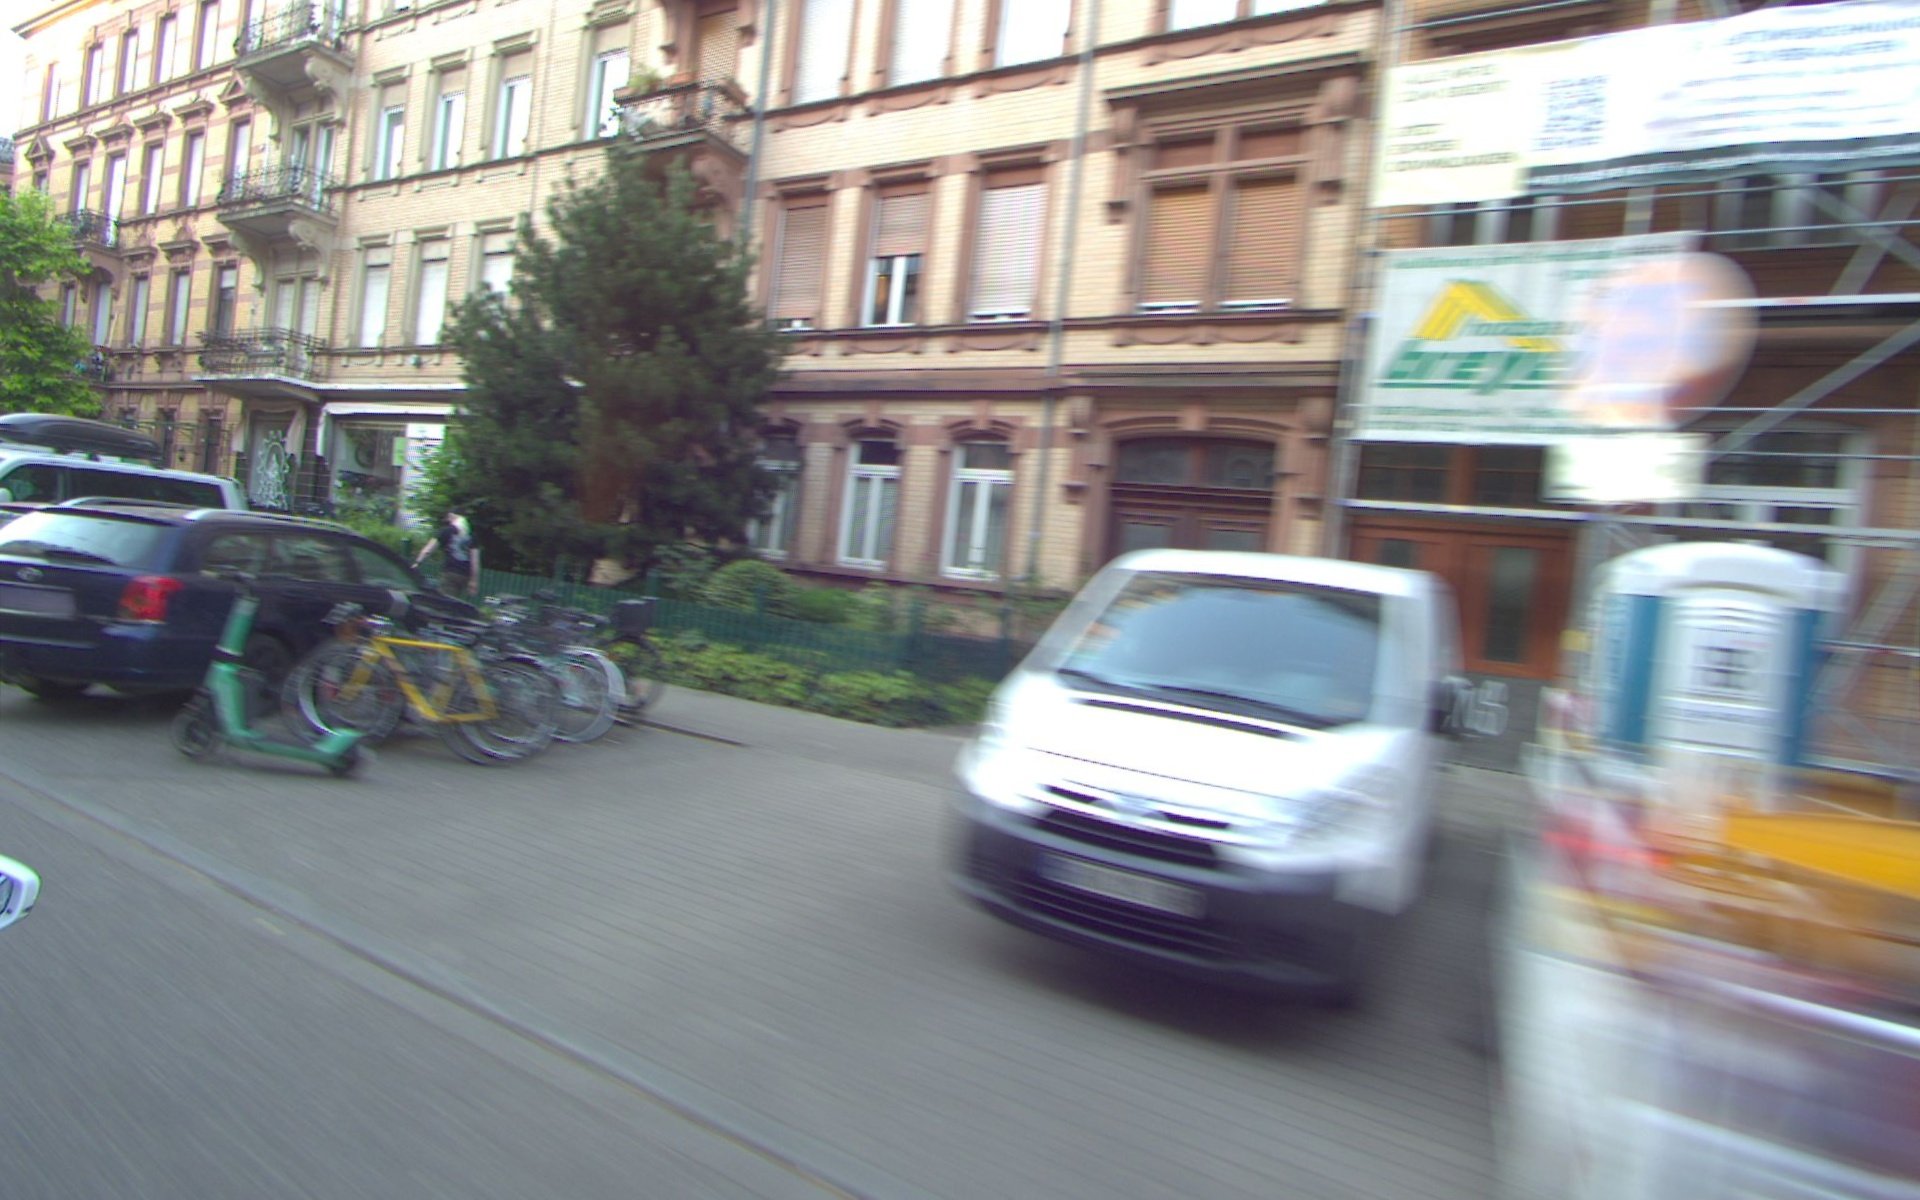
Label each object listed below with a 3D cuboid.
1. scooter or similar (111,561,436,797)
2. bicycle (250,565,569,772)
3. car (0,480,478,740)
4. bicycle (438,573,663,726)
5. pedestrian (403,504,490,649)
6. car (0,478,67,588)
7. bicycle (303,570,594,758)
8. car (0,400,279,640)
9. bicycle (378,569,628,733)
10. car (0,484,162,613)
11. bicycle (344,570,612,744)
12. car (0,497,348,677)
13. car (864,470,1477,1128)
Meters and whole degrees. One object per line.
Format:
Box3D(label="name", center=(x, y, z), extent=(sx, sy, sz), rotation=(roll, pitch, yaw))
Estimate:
Box3D(label="scooter or similar", center=(-4.068, 0.438, 6.016), extent=(1.456, 1.165, 0.656), rotation=(7, 2, 6))
Box3D(label="bicycle", center=(-3.706, 0.451, 6.844), extent=(1.781, 1.151, 0.496), rotation=(7, 2, -2))
Box3D(label="car", center=(-5.989, 0.025, 8.308), extent=(1.813, 1.535, 3.868), rotation=(7, 0, 4))
Box3D(label="bicycle", center=(-3.747, 0.441, 9.263), extent=(1.780, 1.151, 0.496), rotation=(7, 2, 2))
Box3D(label="pedestrian", center=(-6.590, -0.303, 12.911), extent=(0.816, 1.773, 0.682), rotation=(7, 3, 44))
Box3D(label="car", center=(-15.236, -1.064, 13.996), extent=(1.851, 1.611, 4.161), rotation=(7, 2, -1))
Box3D(label="bicycle", center=(-3.756, 0.460, 7.474), extent=(1.782, 1.151, 0.496), rotation=(7, 2, -5))
Box3D(label="car", center=(-10.508, -0.897, 11.270), extent=(1.962, 2.392, 4.939), rotation=(7, 0, 4))
Box3D(label="bicycle", center=(-3.865, 0.425, 8.591), extent=(1.782, 1.151, 0.496), rotation=(7, 2, -5))
Box3D(label="car", center=(-12.888, -0.749, 12.866), extent=(1.851, 1.610, 4.166), rotation=(7, 0, 1))
Box3D(label="bicycle", center=(-3.817, 0.443, 8.047), extent=(1.782, 1.151, 0.496), rotation=(7, 2, -5))
Box3D(label="car", center=(-8.267, -0.166, 10.259), extent=(1.727, 1.426, 3.865), rotation=(6, 0, -3))
Box3D(label="car", center=(1.764, 0.659, 5.865), extent=(1.866, 1.981, 5.178), rotation=(8, 2, 29))
